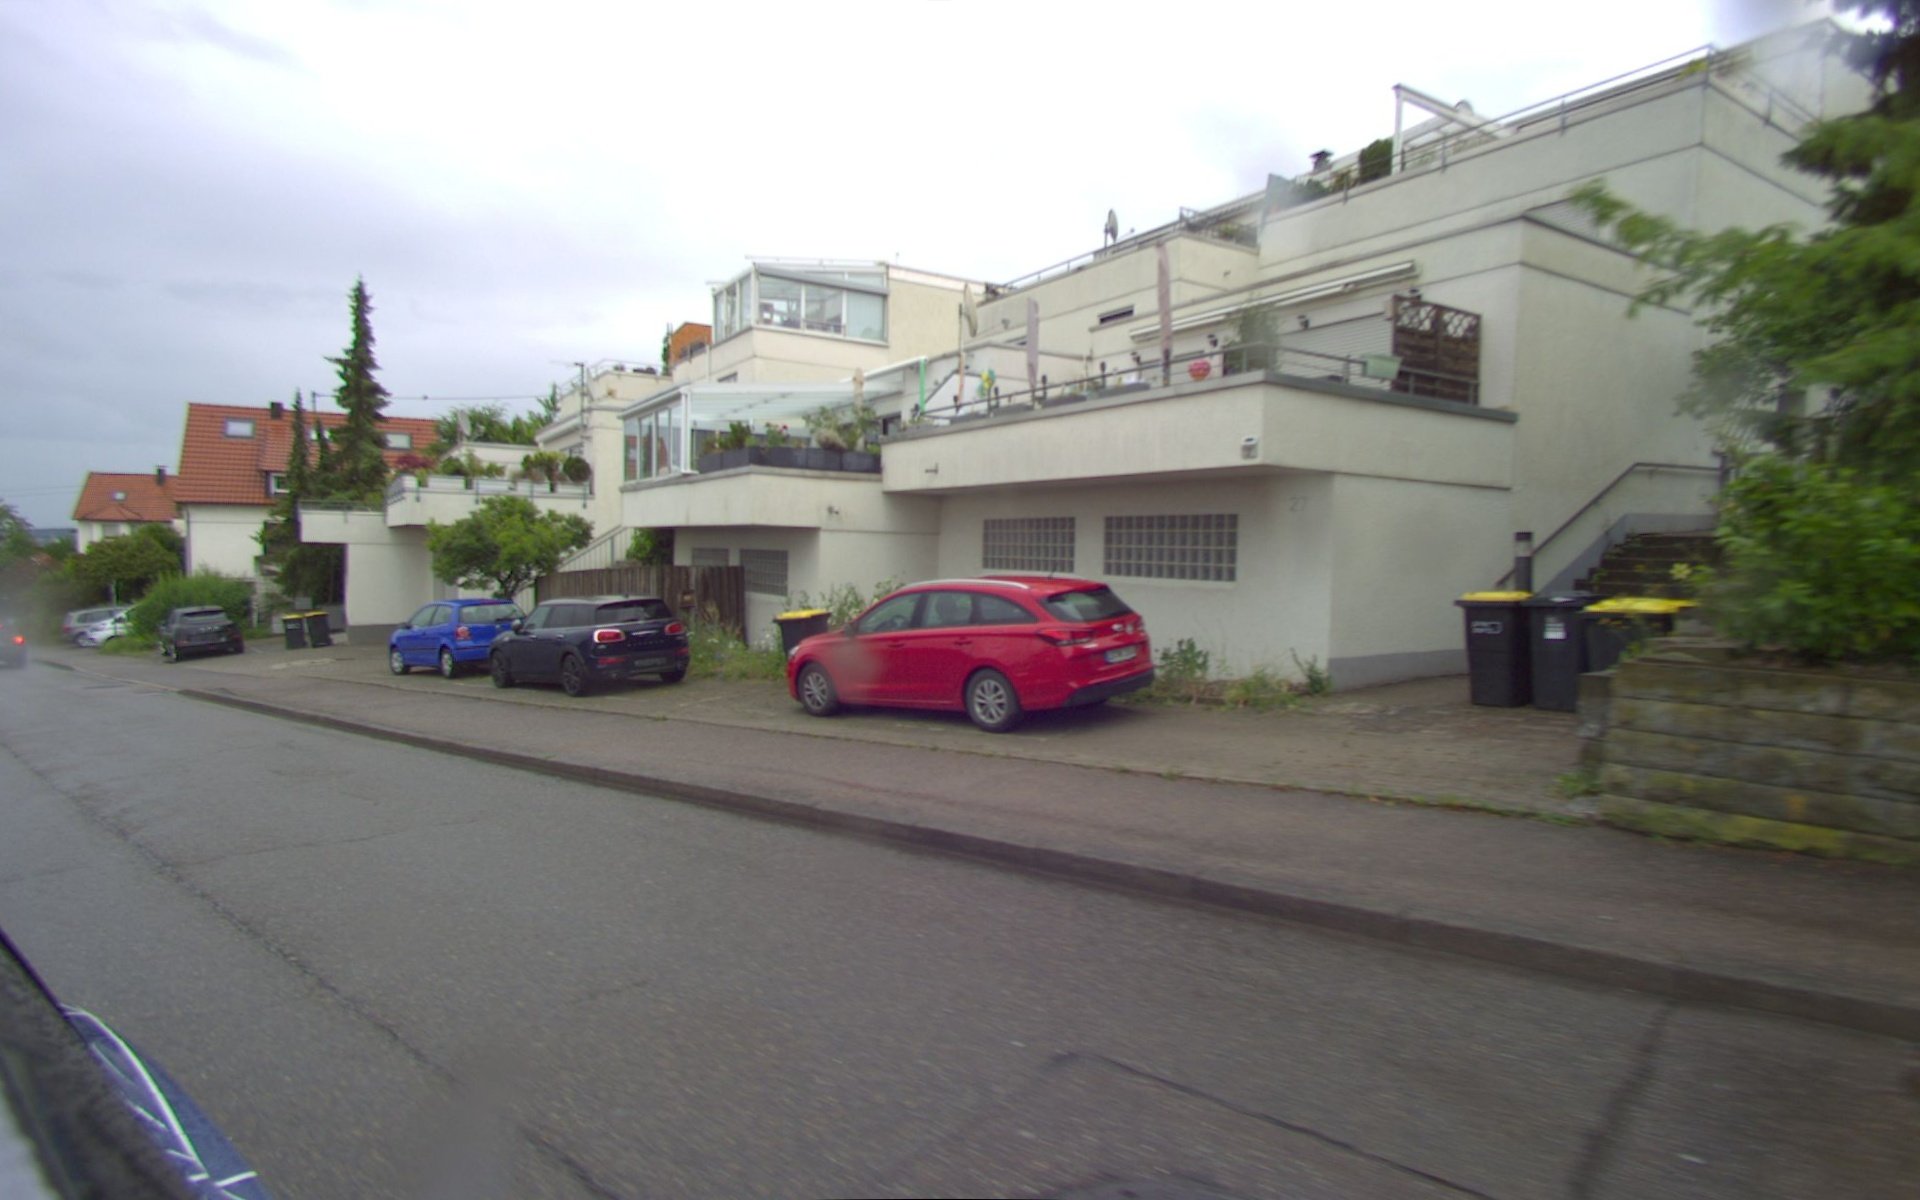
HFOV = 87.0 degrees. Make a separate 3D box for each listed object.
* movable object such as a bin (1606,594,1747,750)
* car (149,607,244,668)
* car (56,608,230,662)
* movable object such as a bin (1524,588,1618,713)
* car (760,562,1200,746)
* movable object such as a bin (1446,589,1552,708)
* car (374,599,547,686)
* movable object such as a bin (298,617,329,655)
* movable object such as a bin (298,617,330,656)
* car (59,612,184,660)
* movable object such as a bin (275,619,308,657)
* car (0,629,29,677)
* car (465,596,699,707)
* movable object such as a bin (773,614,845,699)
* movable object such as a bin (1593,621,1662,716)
[{"bbox_3d":[5.290,0.505,7.481,0.570,1.064,0.685,-2,1,-37],"label":"movable object such as a bin"},{"bbox_3d":[-24.328,1.175,32.200,4.199,1.599,1.671,-2,6,45],"label":"car"},{"bbox_3d":[-31.474,1.316,39.222,5.015,1.959,2.147,0,-1,-32],"label":"car"},{"bbox_3d":[5.504,0.437,9.121,0.570,1.064,0.522,-2,1,-37],"label":"movable object such as a bin"},{"bbox_3d":[0.026,0.484,10.767,4.587,1.447,1.756,-2,4,42],"label":"car"},{"bbox_3d":[5.109,0.443,9.607,0.570,1.064,0.685,-2,1,-37],"label":"movable object such as a bin"},{"bbox_3d":[-9.937,0.813,20.013,3.957,1.444,1.591,-2,3,41],"label":"car"},{"bbox_3d":[-20.265,1.109,31.746,0.715,1.078,0.769,-6,4,-30],"label":"movable object such as a bin"},{"bbox_3d":[-19.769,1.109,30.988,0.715,1.078,0.769,-6,4,-30],"label":"movable object such as a bin"},{"bbox_3d":[-37.127,1.547,44.959,4.002,1.704,1.898,-5,3,-35],"label":"car"},{"bbox_3d":[-20.761,1.170,31.457,0.715,1.078,0.852,-6,4,-30],"label":"movable object such as a bin"},{"bbox_3d":[-30.828,1.620,31.831,4.360,1.448,1.755,-2,-3,41],"label":"car"},{"bbox_3d":[-6.052,0.750,15.966,4.238,1.406,1.616,-2,3,42],"label":"car"},{"bbox_3d":[-2.046,0.751,13.716,0.633,1.092,0.752,-2,0,-42],"label":"movable object such as a bin"},{"bbox_3d":[5.749,0.580,8.716,0.384,0.773,0.368,-2,1,-37],"label":"movable object such as a bin"}]
